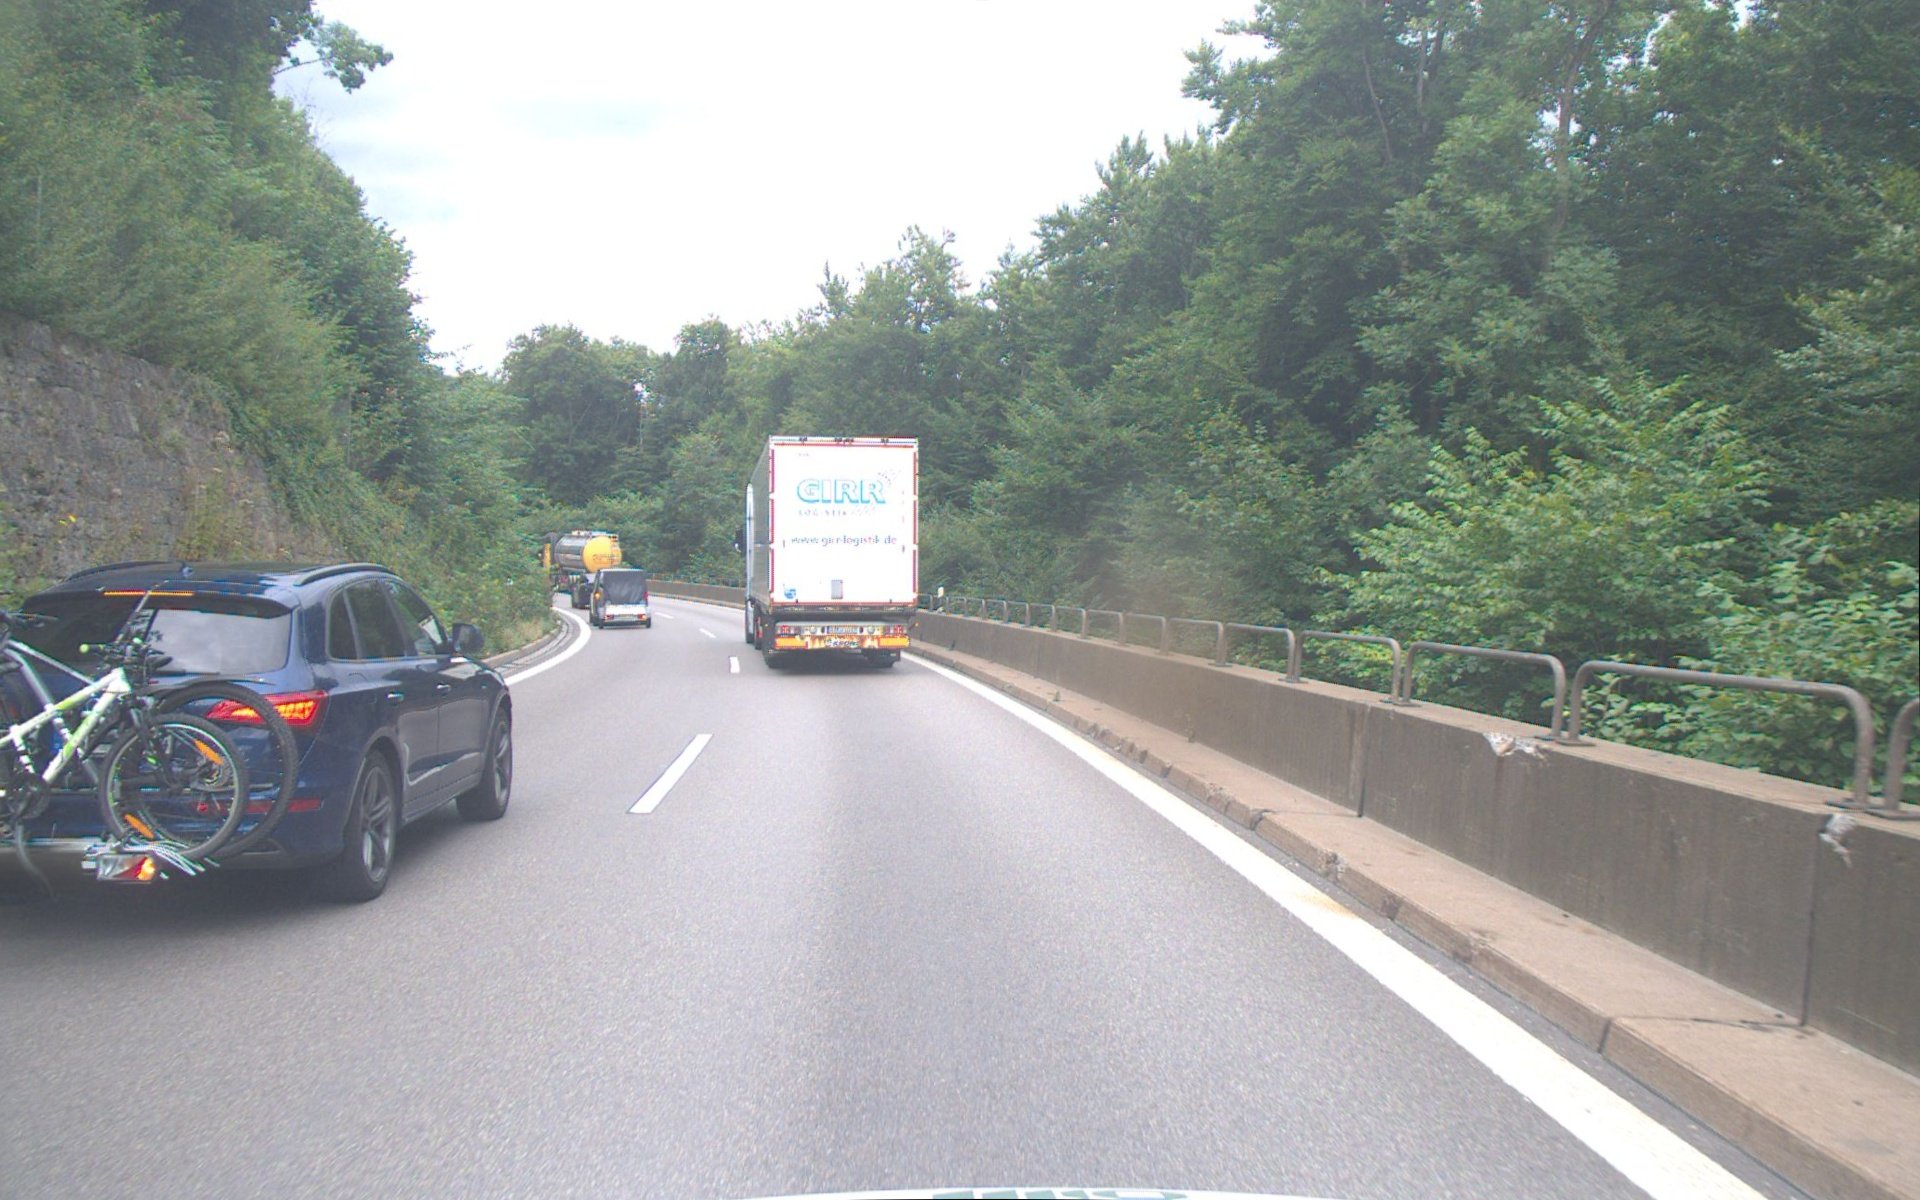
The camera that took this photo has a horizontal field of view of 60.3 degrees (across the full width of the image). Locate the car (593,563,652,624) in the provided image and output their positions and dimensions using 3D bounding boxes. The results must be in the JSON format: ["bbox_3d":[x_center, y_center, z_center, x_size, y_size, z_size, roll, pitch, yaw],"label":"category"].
[{"bbox_3d":[-12.098,-0.212,59.263,1.958,2.049,5.523,1,0,-12],"label":"car"}]

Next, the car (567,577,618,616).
[{"bbox_3d":[-16.853,-0.151,75.772,1.962,1.747,3.981,0,0,-17],"label":"car"}]

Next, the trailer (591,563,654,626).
[{"bbox_3d":[-11.178,-0.178,54.885,1.936,1.973,3.420,1,0,-11],"label":"trailer"}]

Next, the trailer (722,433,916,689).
[{"bbox_3d":[-3.158,-0.858,33.388,3.000,4.054,12.117,3,2,-8],"label":"trailer"}]

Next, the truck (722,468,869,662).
[{"bbox_3d":[-4.079,-0.887,39.750,3.000,4.055,7.175,3,2,-8],"label":"truck"}]

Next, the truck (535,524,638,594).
[{"bbox_3d":[-23.451,-2.412,103.058,3.021,4.056,13.576,0,0,-27],"label":"truck"}]

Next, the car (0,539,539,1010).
[{"bbox_3d":[-3.724,0.614,8.590,1.932,1.621,5.580,3,-1,-4],"label":"car"}]
